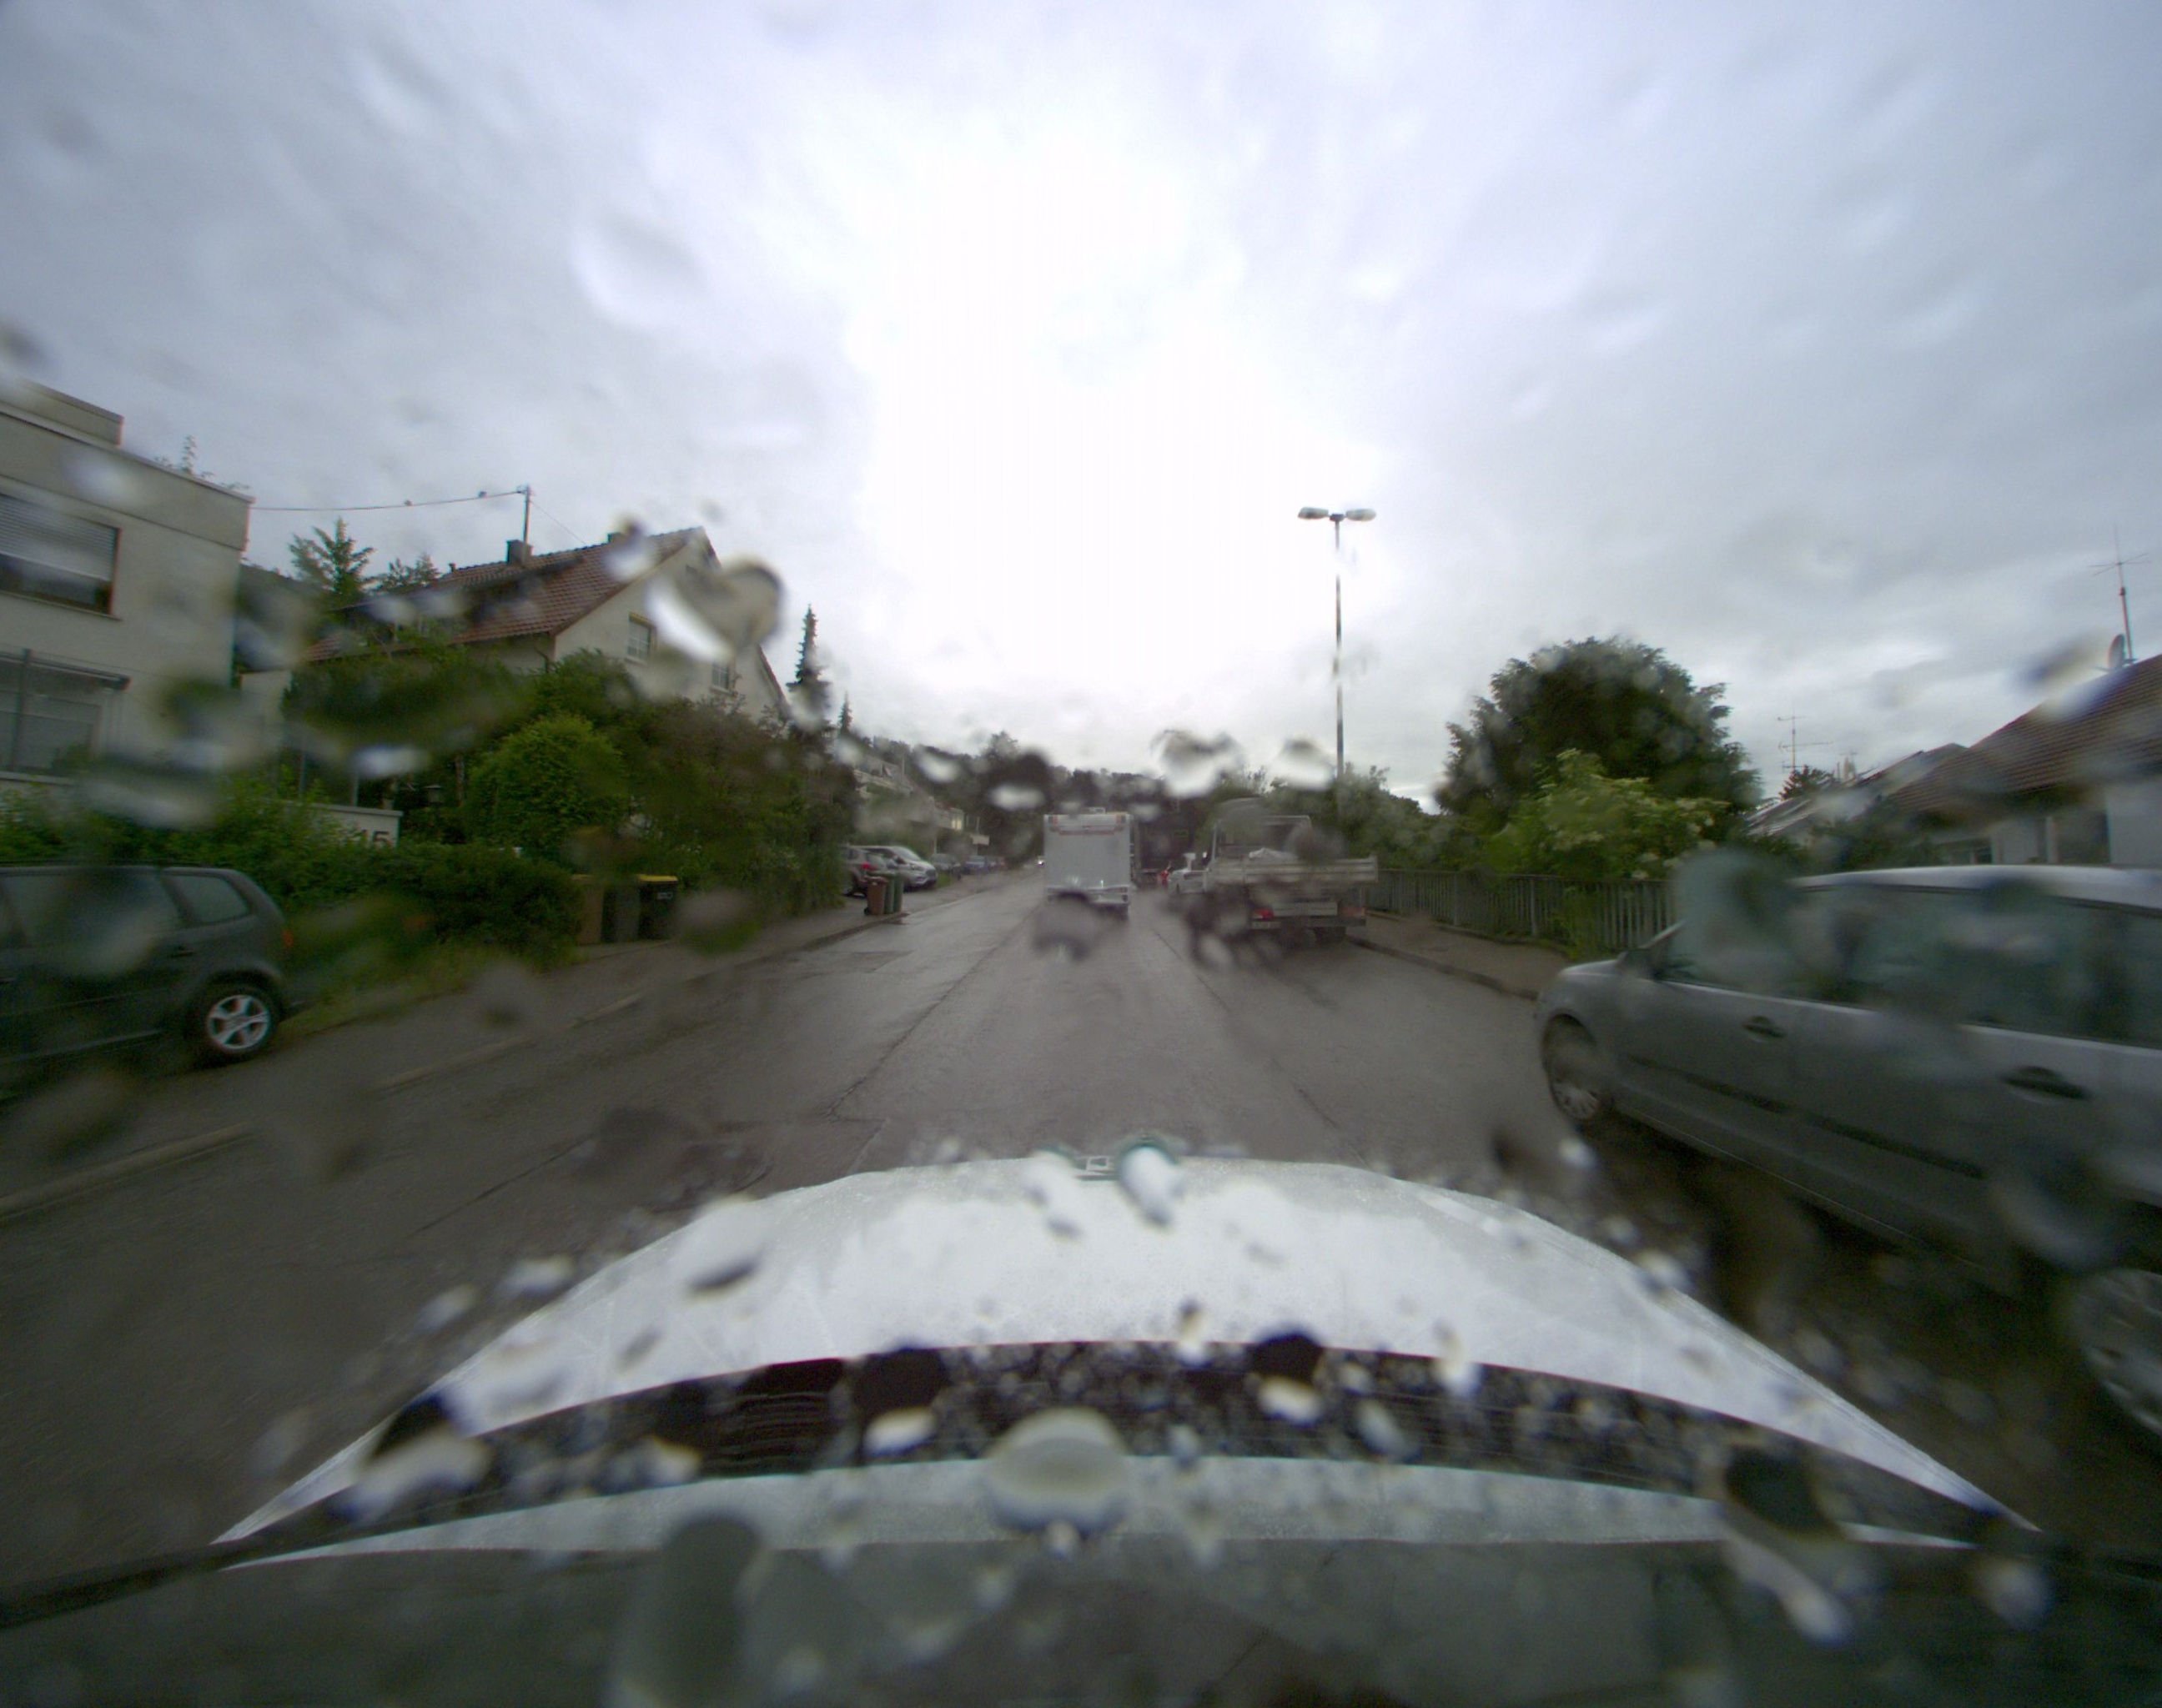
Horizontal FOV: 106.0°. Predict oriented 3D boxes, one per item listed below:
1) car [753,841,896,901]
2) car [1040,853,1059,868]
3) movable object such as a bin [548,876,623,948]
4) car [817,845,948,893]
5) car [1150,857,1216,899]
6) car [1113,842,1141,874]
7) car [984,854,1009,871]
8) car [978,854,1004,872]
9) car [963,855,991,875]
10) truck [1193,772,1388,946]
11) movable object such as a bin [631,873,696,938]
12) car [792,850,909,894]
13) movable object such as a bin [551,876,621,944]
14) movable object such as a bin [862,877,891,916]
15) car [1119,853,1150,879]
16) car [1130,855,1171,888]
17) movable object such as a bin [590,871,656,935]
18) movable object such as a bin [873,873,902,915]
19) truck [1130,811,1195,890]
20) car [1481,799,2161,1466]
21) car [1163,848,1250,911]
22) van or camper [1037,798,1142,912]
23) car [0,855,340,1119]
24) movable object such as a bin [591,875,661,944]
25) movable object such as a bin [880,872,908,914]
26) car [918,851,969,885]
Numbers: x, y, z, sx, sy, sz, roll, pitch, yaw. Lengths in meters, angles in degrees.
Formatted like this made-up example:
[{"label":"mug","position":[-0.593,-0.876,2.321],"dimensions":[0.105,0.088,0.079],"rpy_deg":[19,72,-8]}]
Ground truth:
[{"label":"car","position":[-8.517,0.549,27.165],"dimensions":[4.026,1.692,1.900],"rpy_deg":[3,-1,13]},{"label":"car","position":[-3.380,0.692,87.377],"dimensions":[1.901,1.607,4.425],"rpy_deg":[0,0,-1]},{"label":"movable object such as a bin","position":[-7.773,0.894,12.799],"dimensions":[0.692,1.083,0.713],"rpy_deg":[-1,0,19]},{"label":"car","position":[-8.550,0.655,35.234],"dimensions":[5.045,1.944,2.151],"rpy_deg":[-1,-1,16]},{"label":"car","position":[3.789,0.868,30.998],"dimensions":[1.826,1.438,4.985],"rpy_deg":[-1,-1,0]},{"label":"car","position":[3.806,0.309,68.101],"dimensions":[2.024,2.505,5.955],"rpy_deg":[-1,0,0]},{"label":"car","position":[-8.029,0.793,77.740],"dimensions":[1.768,1.437,4.588],"rpy_deg":[4,0,1]},{"label":"car","position":[-7.668,0.794,69.797],"dimensions":[1.627,1.396,4.239],"rpy_deg":[3,0,1]},{"label":"car","position":[-8.113,0.858,63.793],"dimensions":[1.602,1.434,3.958],"rpy_deg":[3,0,0]},{"label":"truck","position":[3.660,0.117,15.784],"dimensions":[2.231,2.631,6.540],"rpy_deg":[-1,-1,2]},{"label":"movable object such as a bin","position":[-7.259,0.881,14.176],"dimensions":[0.692,1.083,0.713],"rpy_deg":[-1,0,19]},{"label":"car","position":[-9.112,0.699,32.295],"dimensions":[4.023,1.638,1.902],"rpy_deg":[1,-1,16]},{"label":"movable object such as a bin","position":[-8.287,0.915,13.650],"dimensions":[0.692,1.083,0.713],"rpy_deg":[-1,0,19]},{"label":"movable object such as a bin","position":[-5.098,1.062,20.349],"dimensions":[0.601,0.928,0.563],"rpy_deg":[1,0,-4]},{"label":"car","position":[3.527,0.777,54.524],"dimensions":[1.929,1.672,4.697],"rpy_deg":[-1,0,2]},{"label":"car","position":[3.880,0.969,46.321],"dimensions":[1.840,1.683,5.638],"rpy_deg":[-1,-1,0]},{"label":"movable object such as a bin","position":[-8.076,0.854,14.370],"dimensions":[0.692,1.083,0.713],"rpy_deg":[-1,0,19]},{"label":"movable object such as a bin","position":[-5.008,1.033,21.082],"dimensions":[0.601,1.064,0.637],"rpy_deg":[1,0,-4]},{"label":"truck","position":[3.698,-0.109,38.642],"dimensions":[2.427,3.335,7.967],"rpy_deg":[-1,-1,1]},{"label":"car","position":[3.393,0.654,3.342],"dimensions":[1.641,1.563,3.965],"rpy_deg":[-1,-1,2]},{"label":"car","position":[3.473,0.681,23.301],"dimensions":[1.754,1.604,4.665],"rpy_deg":[-1,-1,0]},{"label":"van or camper","position":[0.275,0.119,23.562],"dimensions":[2.606,2.853,6.031],"rpy_deg":[1,-2,1]},{"label":"car","position":[-7.446,0.820,4.948],"dimensions":[1.797,1.597,4.417],"rpy_deg":[-1,-1,0]},{"label":"movable object such as a bin","position":[-7.526,0.898,13.483],"dimensions":[0.692,1.083,0.713],"rpy_deg":[-1,0,19]},{"label":"movable object such as a bin","position":[-5.008,1.037,21.796],"dimensions":[0.601,1.064,0.697],"rpy_deg":[1,0,-4]},{"label":"car","position":[-7.549,0.730,45.007],"dimensions":[1.682,1.588,4.201],"rpy_deg":[6,0,4]}]
